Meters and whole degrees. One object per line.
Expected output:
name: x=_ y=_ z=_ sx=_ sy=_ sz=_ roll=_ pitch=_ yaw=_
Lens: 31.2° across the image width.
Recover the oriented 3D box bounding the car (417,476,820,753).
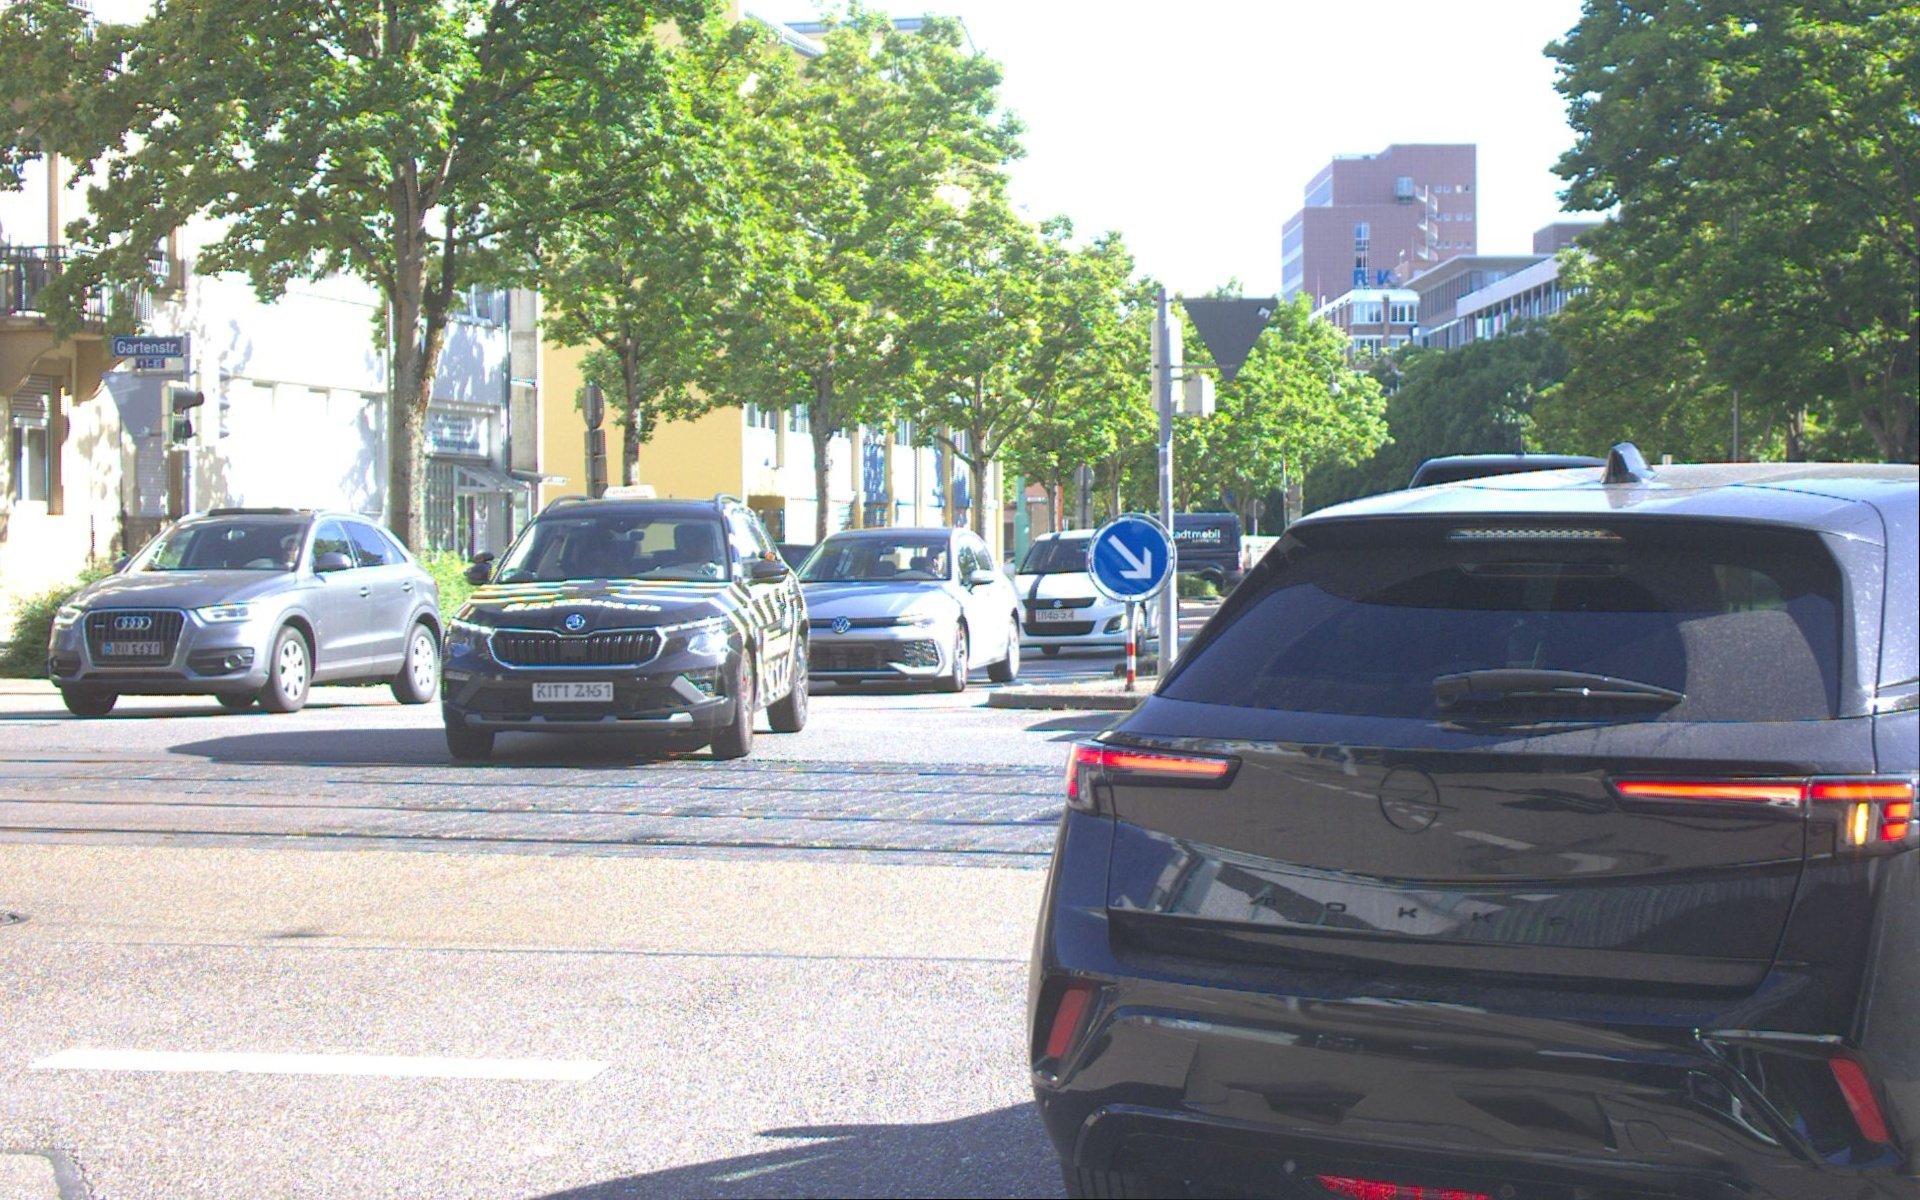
car: x=-1.965 y=0.040 z=20.958 sx=1.788 sy=1.508 sz=4.116 roll=0 pitch=1 yaw=4

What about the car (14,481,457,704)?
car: x=-5.577 y=-0.095 z=27.035 sx=1.885 sy=1.604 sz=4.146 roll=0 pitch=1 yaw=12

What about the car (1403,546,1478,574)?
car: x=26.809 y=-2.244 z=191.961 sx=3.947 sy=1.392 sz=1.516 roll=-3 pitch=0 yaw=2

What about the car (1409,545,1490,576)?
car: x=25.244 y=-2.038 z=177.329 sx=3.947 sy=1.392 sz=1.516 roll=-3 pitch=0 yaw=2

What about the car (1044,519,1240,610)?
car: x=5.247 y=-1.035 z=99.322 sx=5.259 sy=2.537 sz=1.986 roll=-1 pitch=0 yaw=-14

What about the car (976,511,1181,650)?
car: x=1.451 y=-0.257 z=40.485 sx=1.706 sy=1.507 sz=3.861 roll=-2 pitch=1 yaw=12

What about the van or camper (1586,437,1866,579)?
van or camper: x=17.663 y=-2.094 z=79.595 sx=6.081 sy=2.919 sz=2.574 roll=-3 pitch=0 yaw=10

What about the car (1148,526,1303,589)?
car: x=9.057 y=-1.452 z=117.111 sx=4.883 sy=2.076 sz=1.986 roll=-1 pitch=0 yaw=-24

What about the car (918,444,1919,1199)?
car: x=1.702 y=0.493 z=6.933 sx=1.785 sy=1.512 sz=3.748 roll=1 pitch=1 yaw=33

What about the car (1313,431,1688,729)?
car: x=3.855 y=-0.170 z=23.779 sx=2.134 sy=1.829 sz=4.937 roll=0 pitch=1 yaw=14

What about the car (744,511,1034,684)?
car: x=-0.567 y=-0.060 z=30.855 sx=1.709 sy=1.447 sz=3.849 roll=0 pitch=1 yaw=13
